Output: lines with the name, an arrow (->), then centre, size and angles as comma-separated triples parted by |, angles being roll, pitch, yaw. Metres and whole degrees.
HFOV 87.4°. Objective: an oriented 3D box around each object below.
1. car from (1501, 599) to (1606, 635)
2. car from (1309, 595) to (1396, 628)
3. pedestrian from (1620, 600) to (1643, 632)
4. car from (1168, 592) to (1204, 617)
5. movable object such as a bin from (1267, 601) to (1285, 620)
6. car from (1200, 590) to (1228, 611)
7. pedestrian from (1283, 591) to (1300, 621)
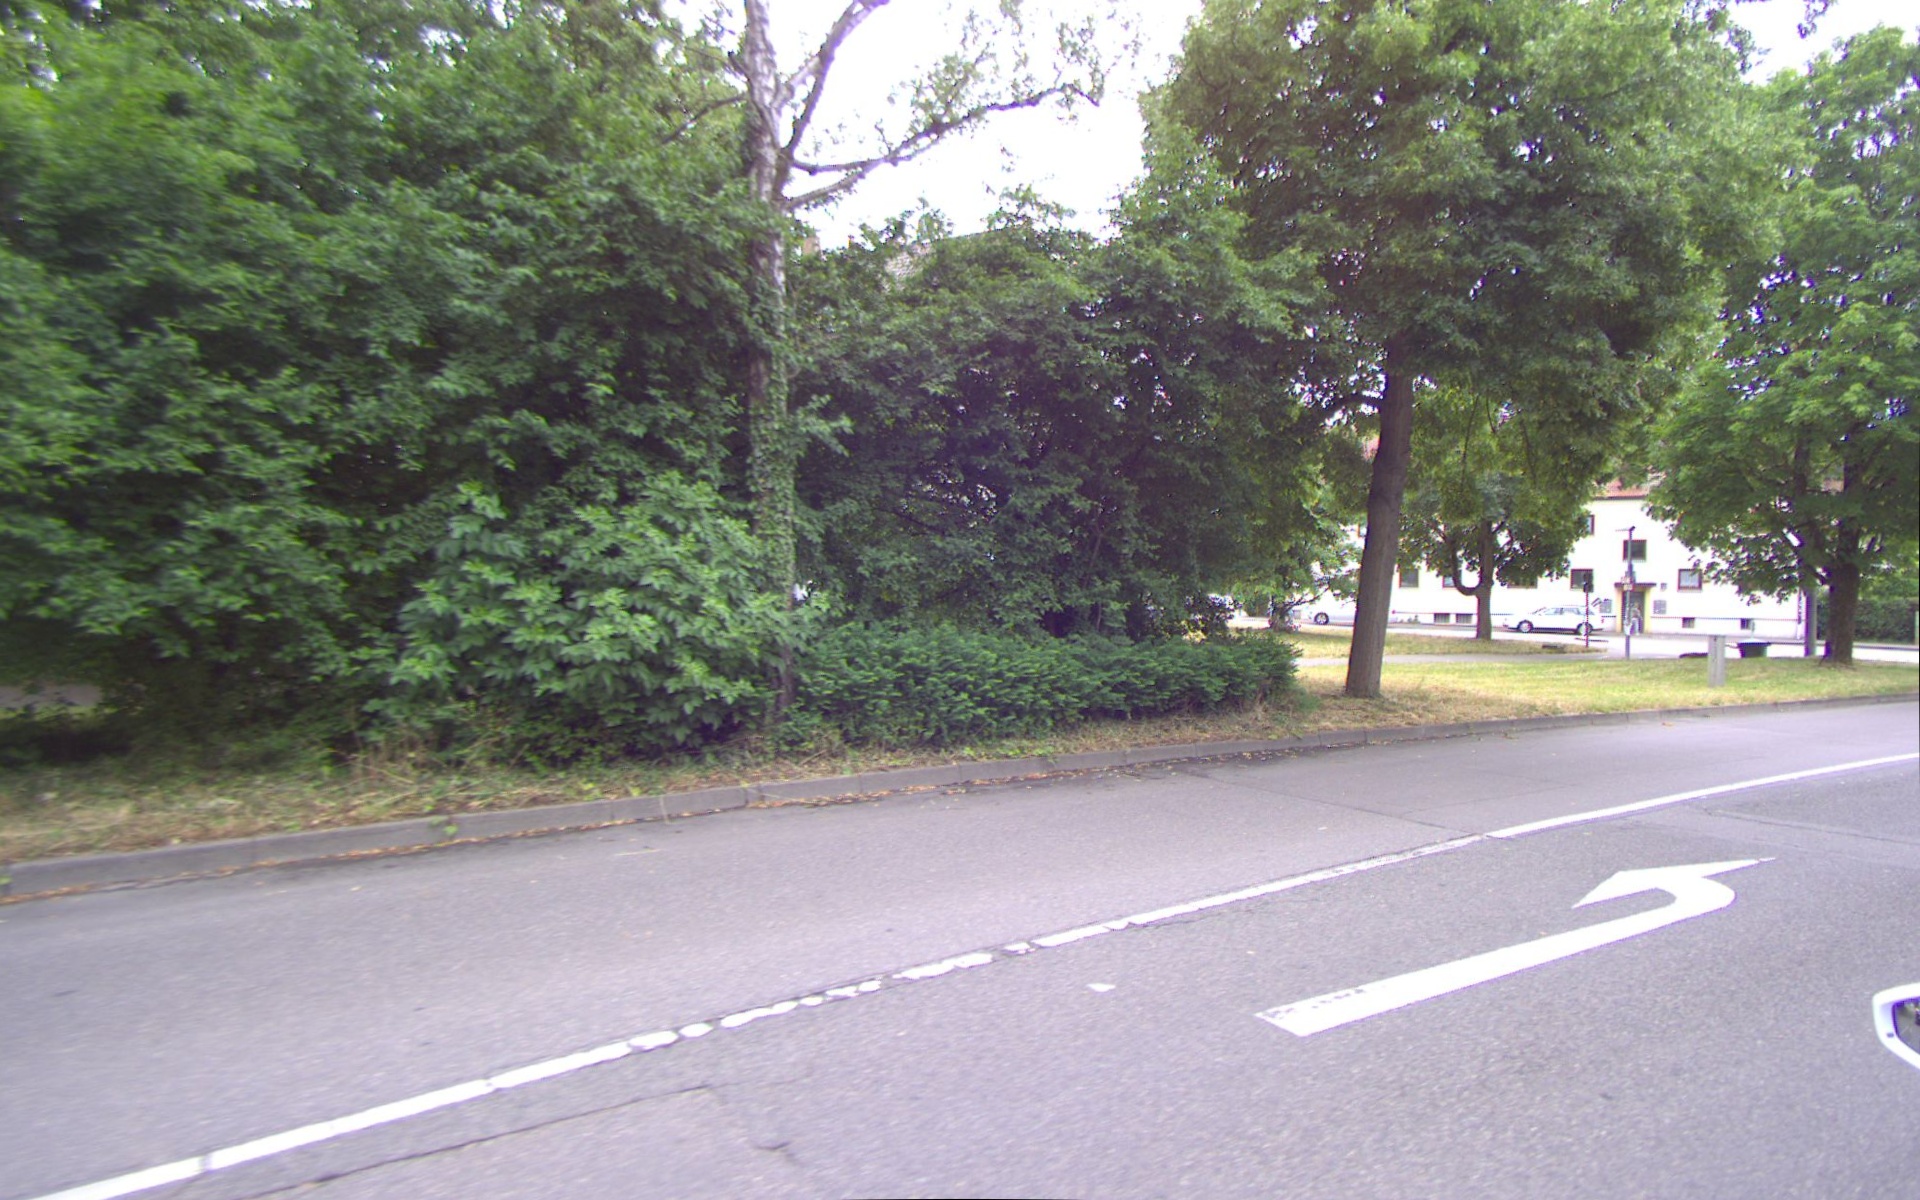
car -> 29.818, 0.815, 50.588 | 4.232, 1.459, 1.721 | 3, 3, 21
car -> 20.663, 0.603, 52.964 | 4.152, 1.554, 1.683 | 3, 0, 23
pedestrian -> 33.974, 0.819, 50.827 | 0.735, 1.555, 0.716 | 3, 4, 21
car -> 17.233, 0.300, 76.390 | 1.796, 1.682, 3.995 | 4, 4, 25
movable object such as a bin -> 18.168, 0.605, 57.724 | 0.862, 1.010, 0.403 | 4, 4, 26
car -> 22.081, -0.002, 87.341 | 1.624, 1.603, 3.765 | 4, 4, 25
pedestrian -> 18.905, 0.347, 57.350 | 0.767, 1.655, 0.681 | 4, 4, 26
